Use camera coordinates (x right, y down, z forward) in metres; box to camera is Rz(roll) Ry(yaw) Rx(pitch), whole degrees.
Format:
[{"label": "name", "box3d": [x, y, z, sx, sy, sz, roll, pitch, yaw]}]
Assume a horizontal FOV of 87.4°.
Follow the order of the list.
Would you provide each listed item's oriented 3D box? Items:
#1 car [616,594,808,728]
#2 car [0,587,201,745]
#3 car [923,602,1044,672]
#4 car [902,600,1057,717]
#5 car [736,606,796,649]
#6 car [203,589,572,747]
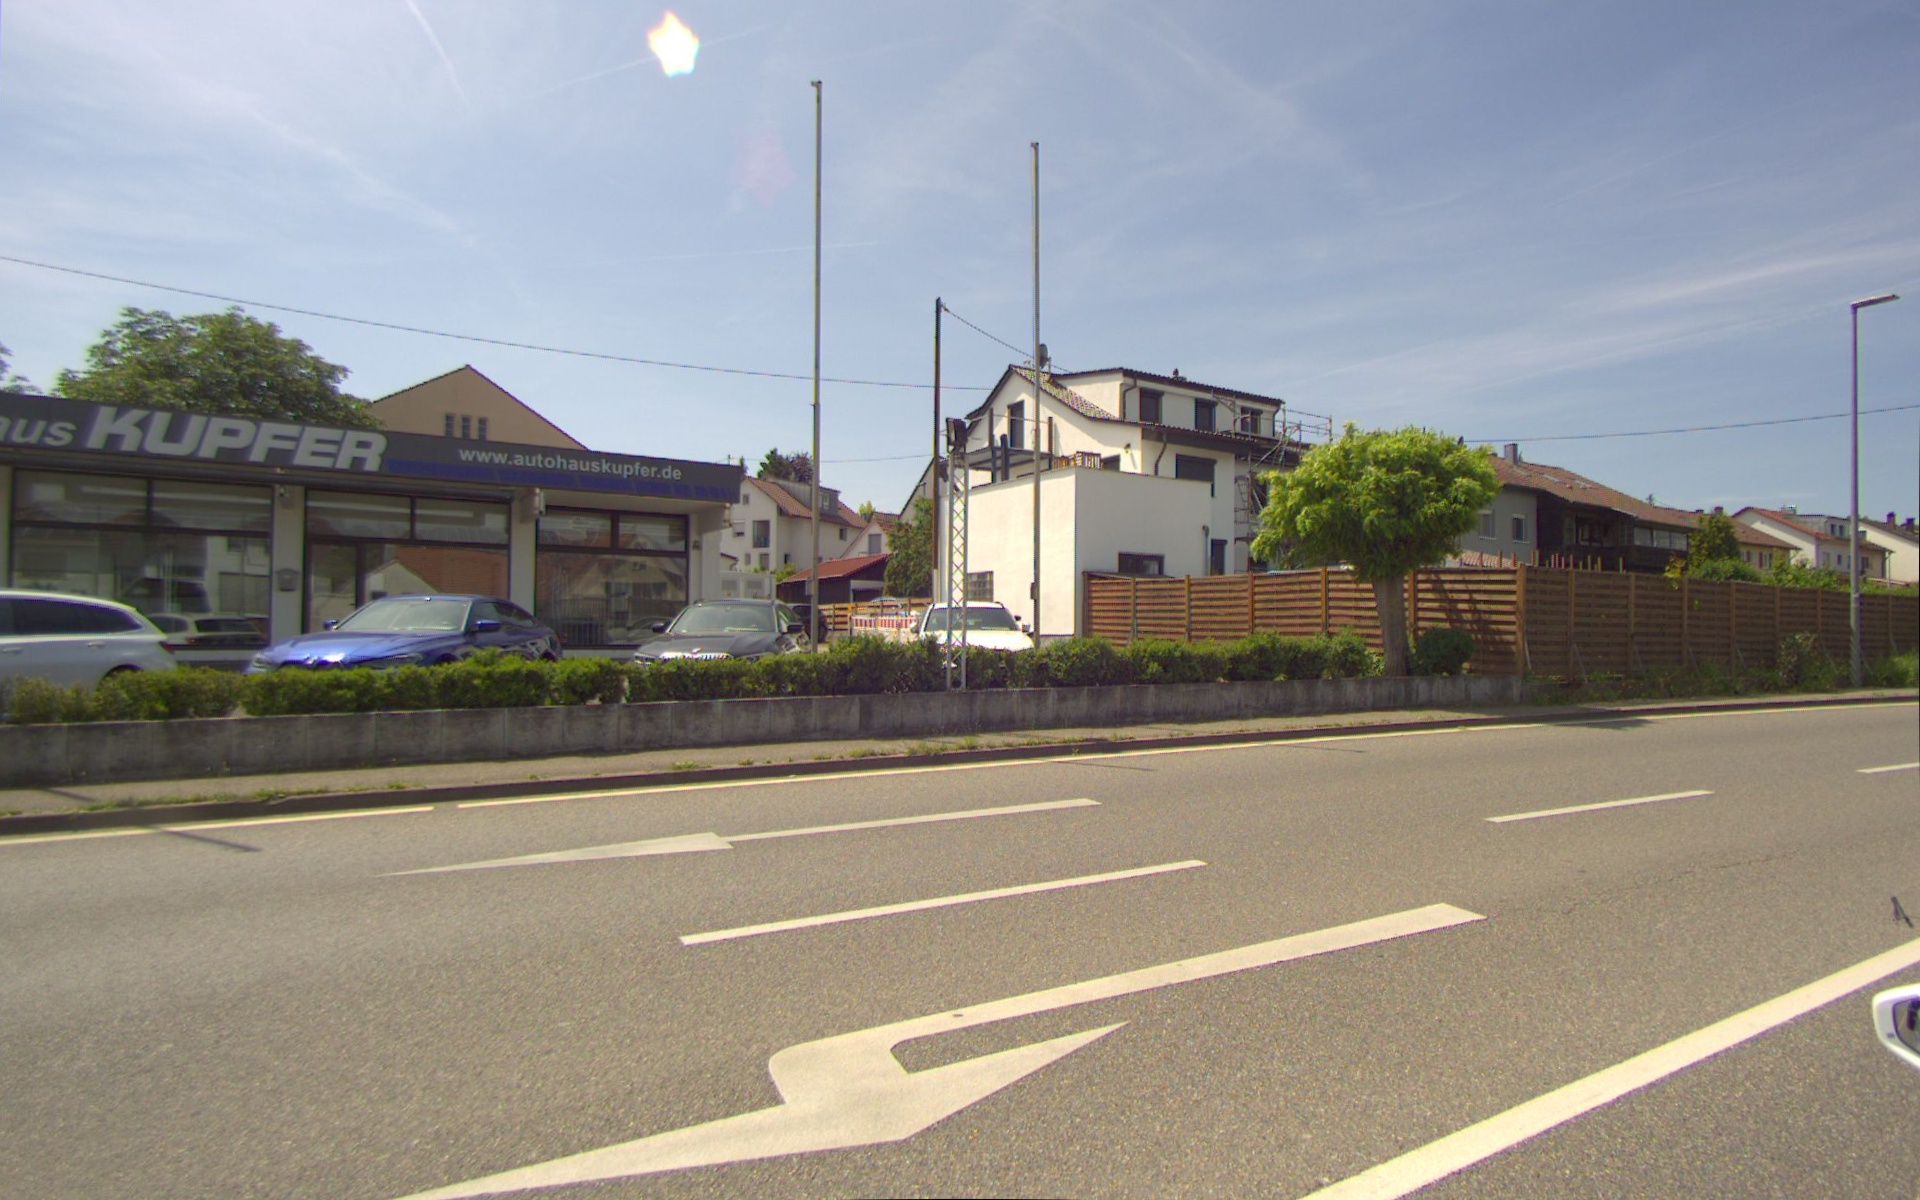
[{"label": "car", "box3d": [-3.149, 0.708, 13.633, 1.863, 1.467, 4.338, 2, 0, -6]}, {"label": "car", "box3d": [-9.860, 0.607, 9.521, 1.820, 1.467, 4.516, 1, 0, 1]}, {"label": "car", "box3d": [0.476, 0.851, 24.594, 1.805, 1.530, 3.985, 1, 0, -17]}, {"label": "car", "box3d": [0.132, 0.767, 15.178, 1.822, 1.467, 4.338, 2, 0, -6]}, {"label": "car", "box3d": [-6.963, 0.948, 35.821, 1.685, 1.420, 3.985, 1, 0, -17]}, {"label": "car", "box3d": [-6.372, 0.670, 11.880, 1.820, 1.467, 4.342, 2, 0, 0]}]
